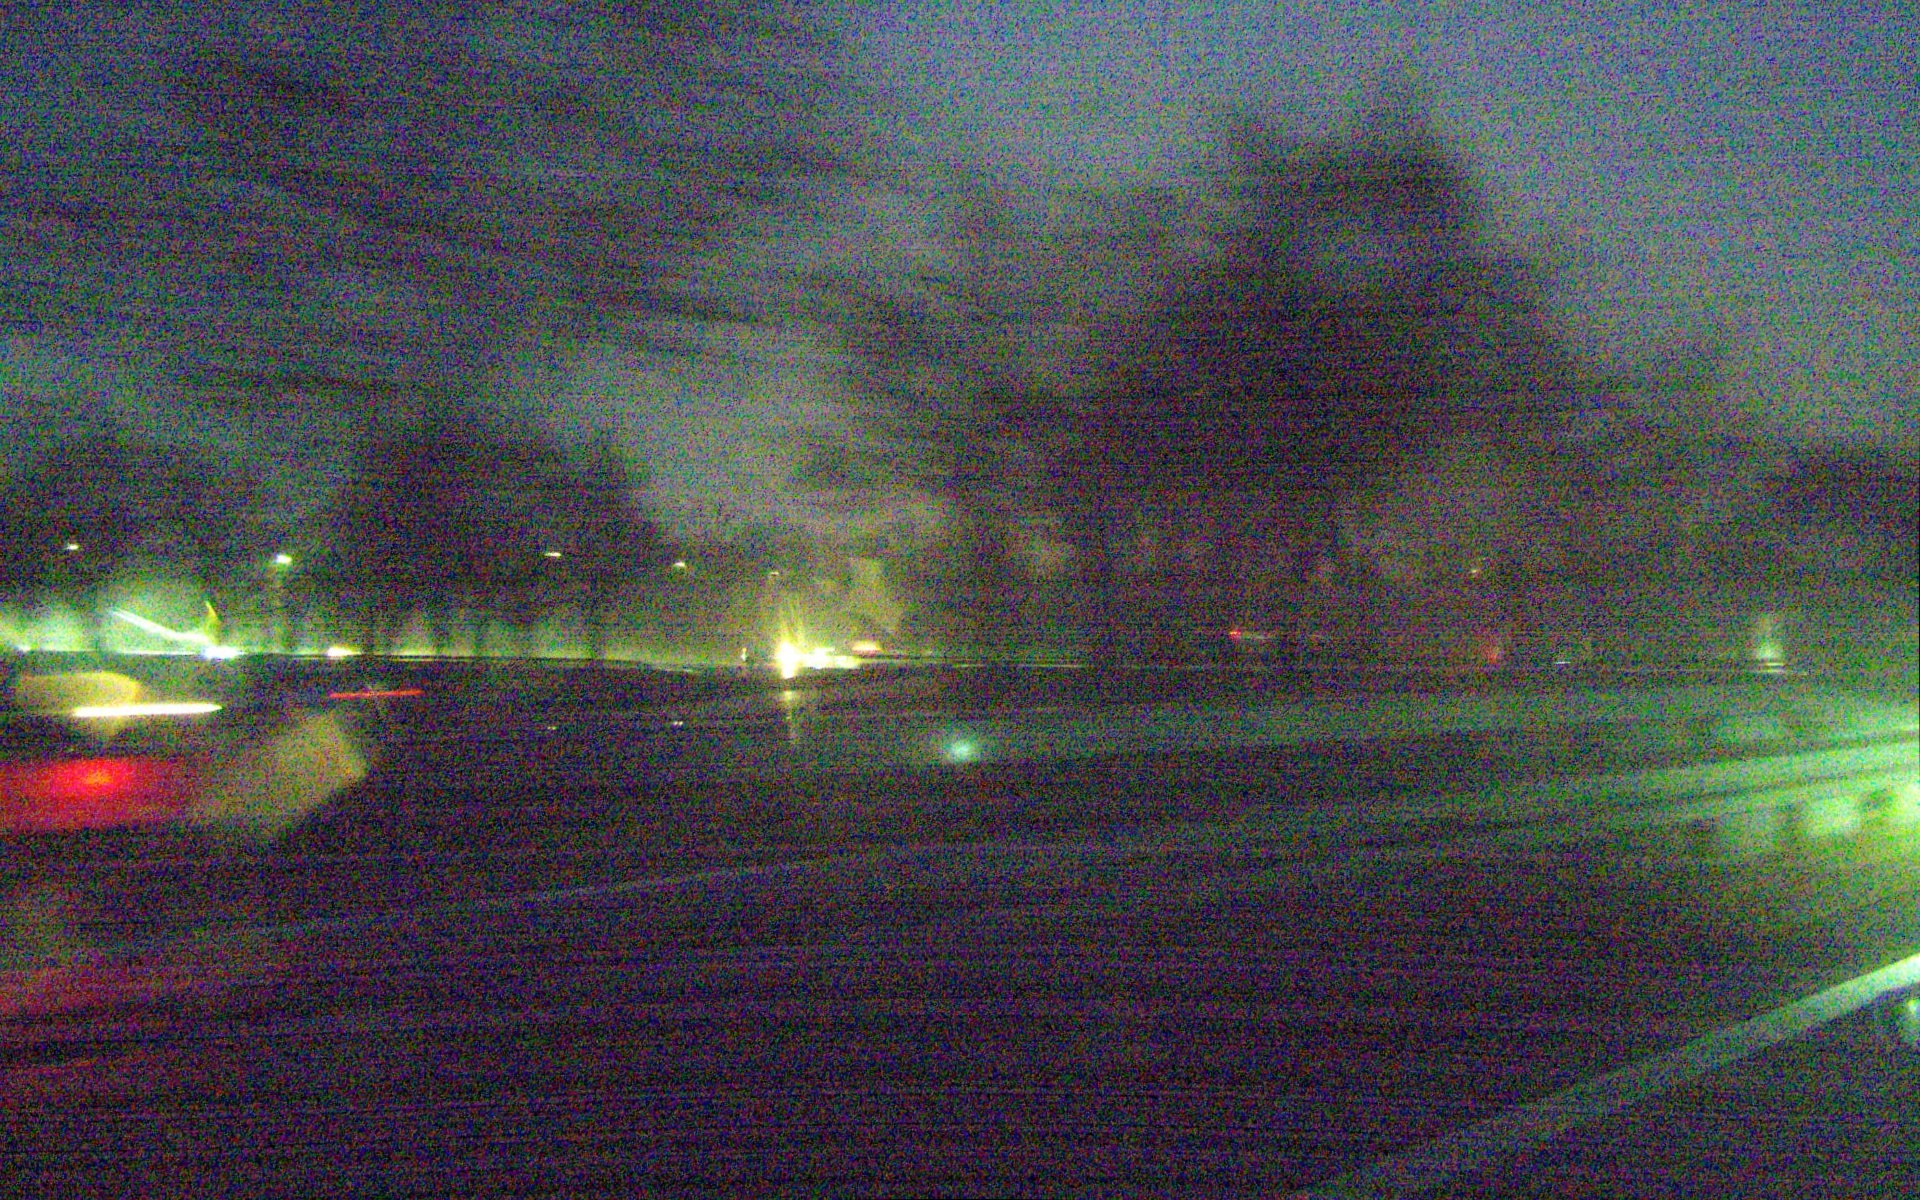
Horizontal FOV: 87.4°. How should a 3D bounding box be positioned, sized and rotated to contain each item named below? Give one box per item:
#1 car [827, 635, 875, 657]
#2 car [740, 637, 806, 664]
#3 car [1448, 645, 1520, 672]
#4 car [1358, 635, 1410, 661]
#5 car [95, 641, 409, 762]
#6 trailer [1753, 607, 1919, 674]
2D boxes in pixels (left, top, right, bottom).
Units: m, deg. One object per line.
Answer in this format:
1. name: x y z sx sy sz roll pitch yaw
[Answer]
1. car: -11.038 4.632 101.479 4.382 2.040 2.000 0 -1 20
2. car: -15.266 4.102 81.883 4.917 2.040 2.000 0 -1 18
3. car: 34.436 3.832 66.103 3.920 1.639 2.000 0 -1 18
4. car: 35.609 3.988 84.426 3.921 2.040 1.972 0 -1 20
5. car: -11.726 1.575 16.949 1.727 1.661 3.996 0 -1 26
6. trailer: 54.368 2.298 57.947 13.383 3.774 2.600 0 -1 20
